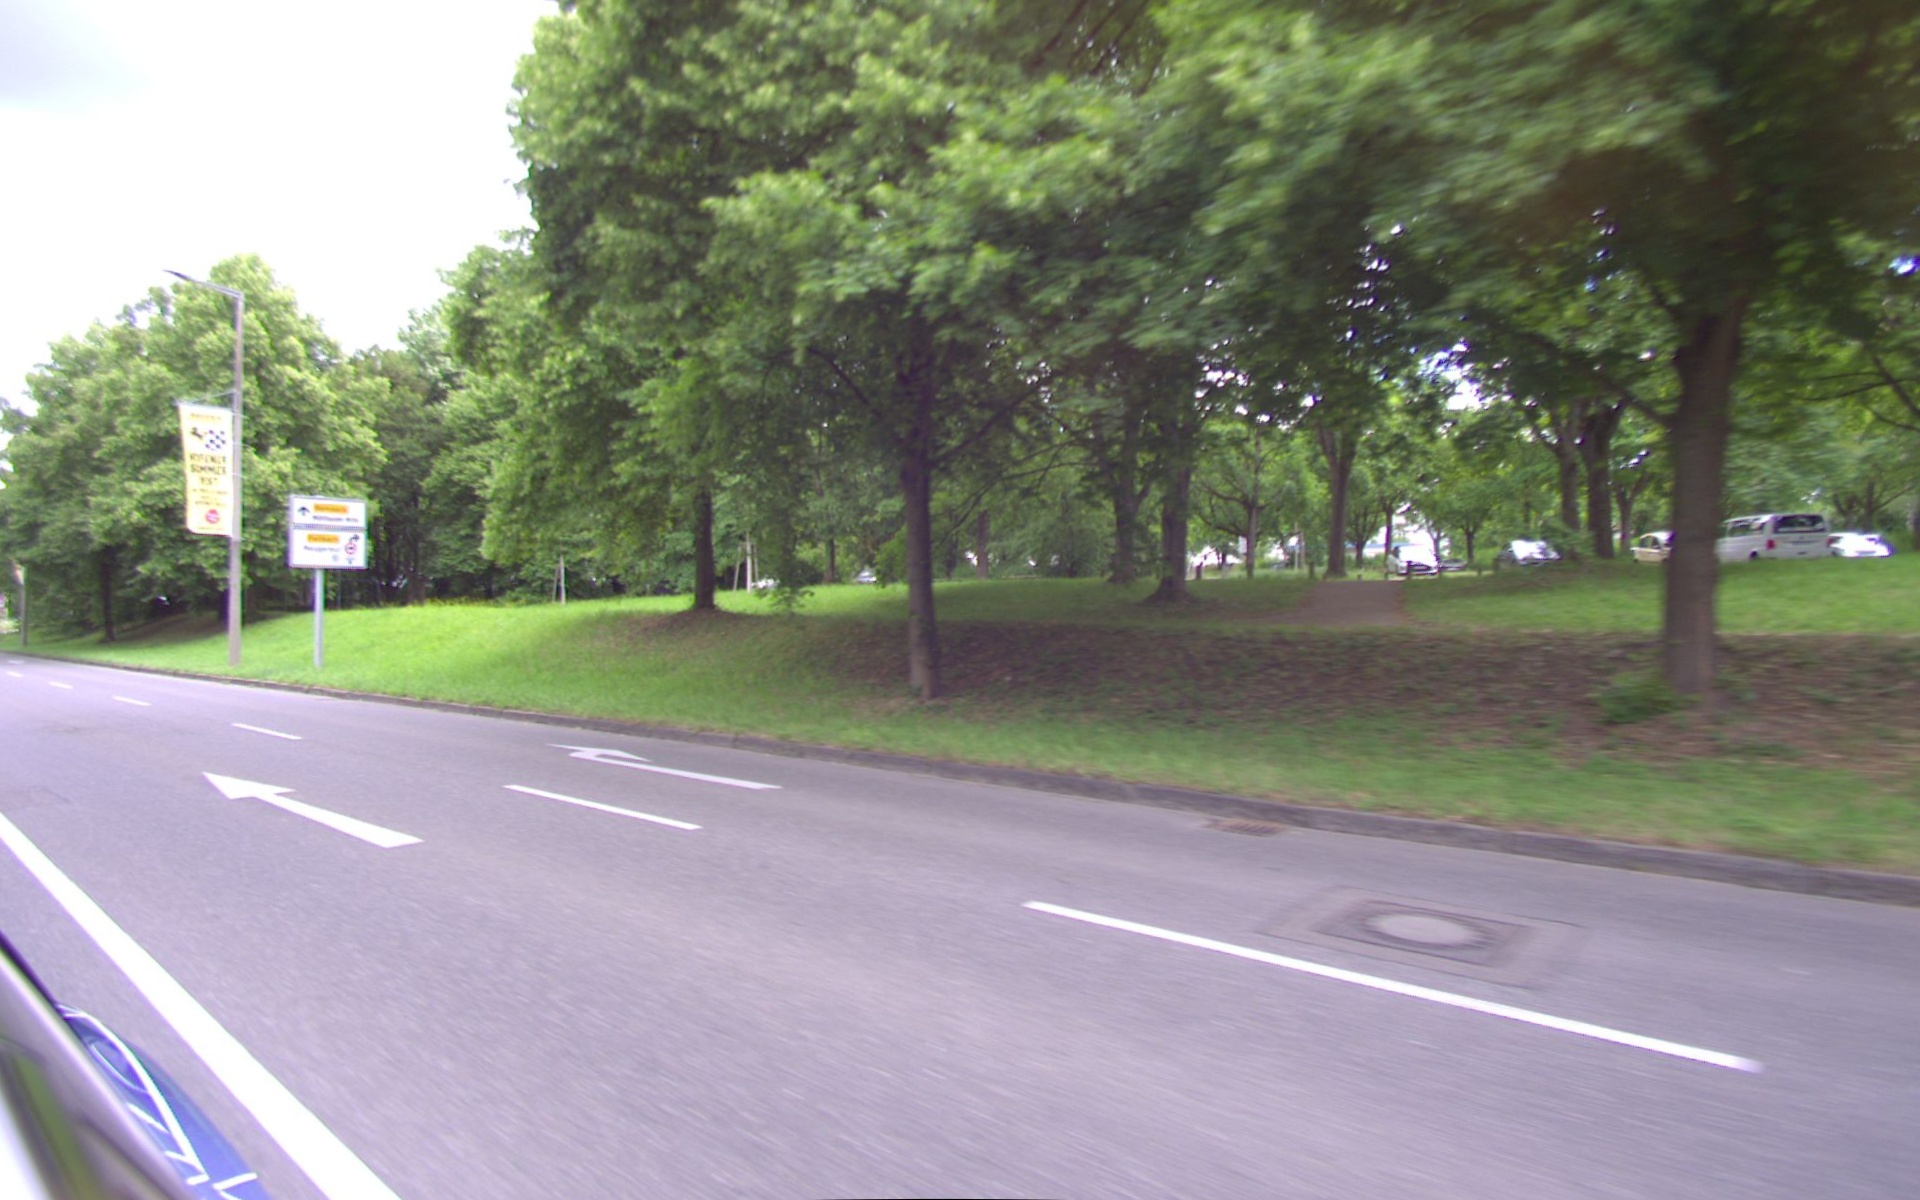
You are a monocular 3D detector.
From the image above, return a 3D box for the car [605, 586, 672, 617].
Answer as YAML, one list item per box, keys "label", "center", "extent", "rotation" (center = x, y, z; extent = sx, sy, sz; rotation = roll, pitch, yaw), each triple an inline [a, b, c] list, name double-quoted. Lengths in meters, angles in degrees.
- label: "car"
  center: [-21.124, 0.106, 66.697]
  extent: [1.980, 1.910, 4.883]
  rotation: [-1, 0, 13]

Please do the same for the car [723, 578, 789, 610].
- label: "car"
  center: [-13.002, -0.351, 64.842]
  extent: [2.298, 1.910, 4.883]
  rotation: [-1, 0, 13]

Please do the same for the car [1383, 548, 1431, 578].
- label: "car"
  center: [20.968, -1.725, 47.601]
  extent: [1.386, 1.243, 3.495]
  rotation: [-1, 0, 13]

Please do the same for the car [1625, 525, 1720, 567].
- label: "car"
  center: [24.347, -1.811, 34.719]
  extent: [1.386, 1.219, 3.495]
  rotation: [-1, 0, 13]

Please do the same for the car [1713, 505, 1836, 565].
- label: "car"
  center: [27.100, -2.109, 33.842]
  extent: [1.739, 1.696, 4.093]
  rotation: [-1, 0, 17]

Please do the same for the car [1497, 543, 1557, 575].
- label: "car"
  center: [25.527, -1.826, 45.689]
  extent: [1.386, 1.243, 3.495]
  rotation: [-1, 0, 13]
